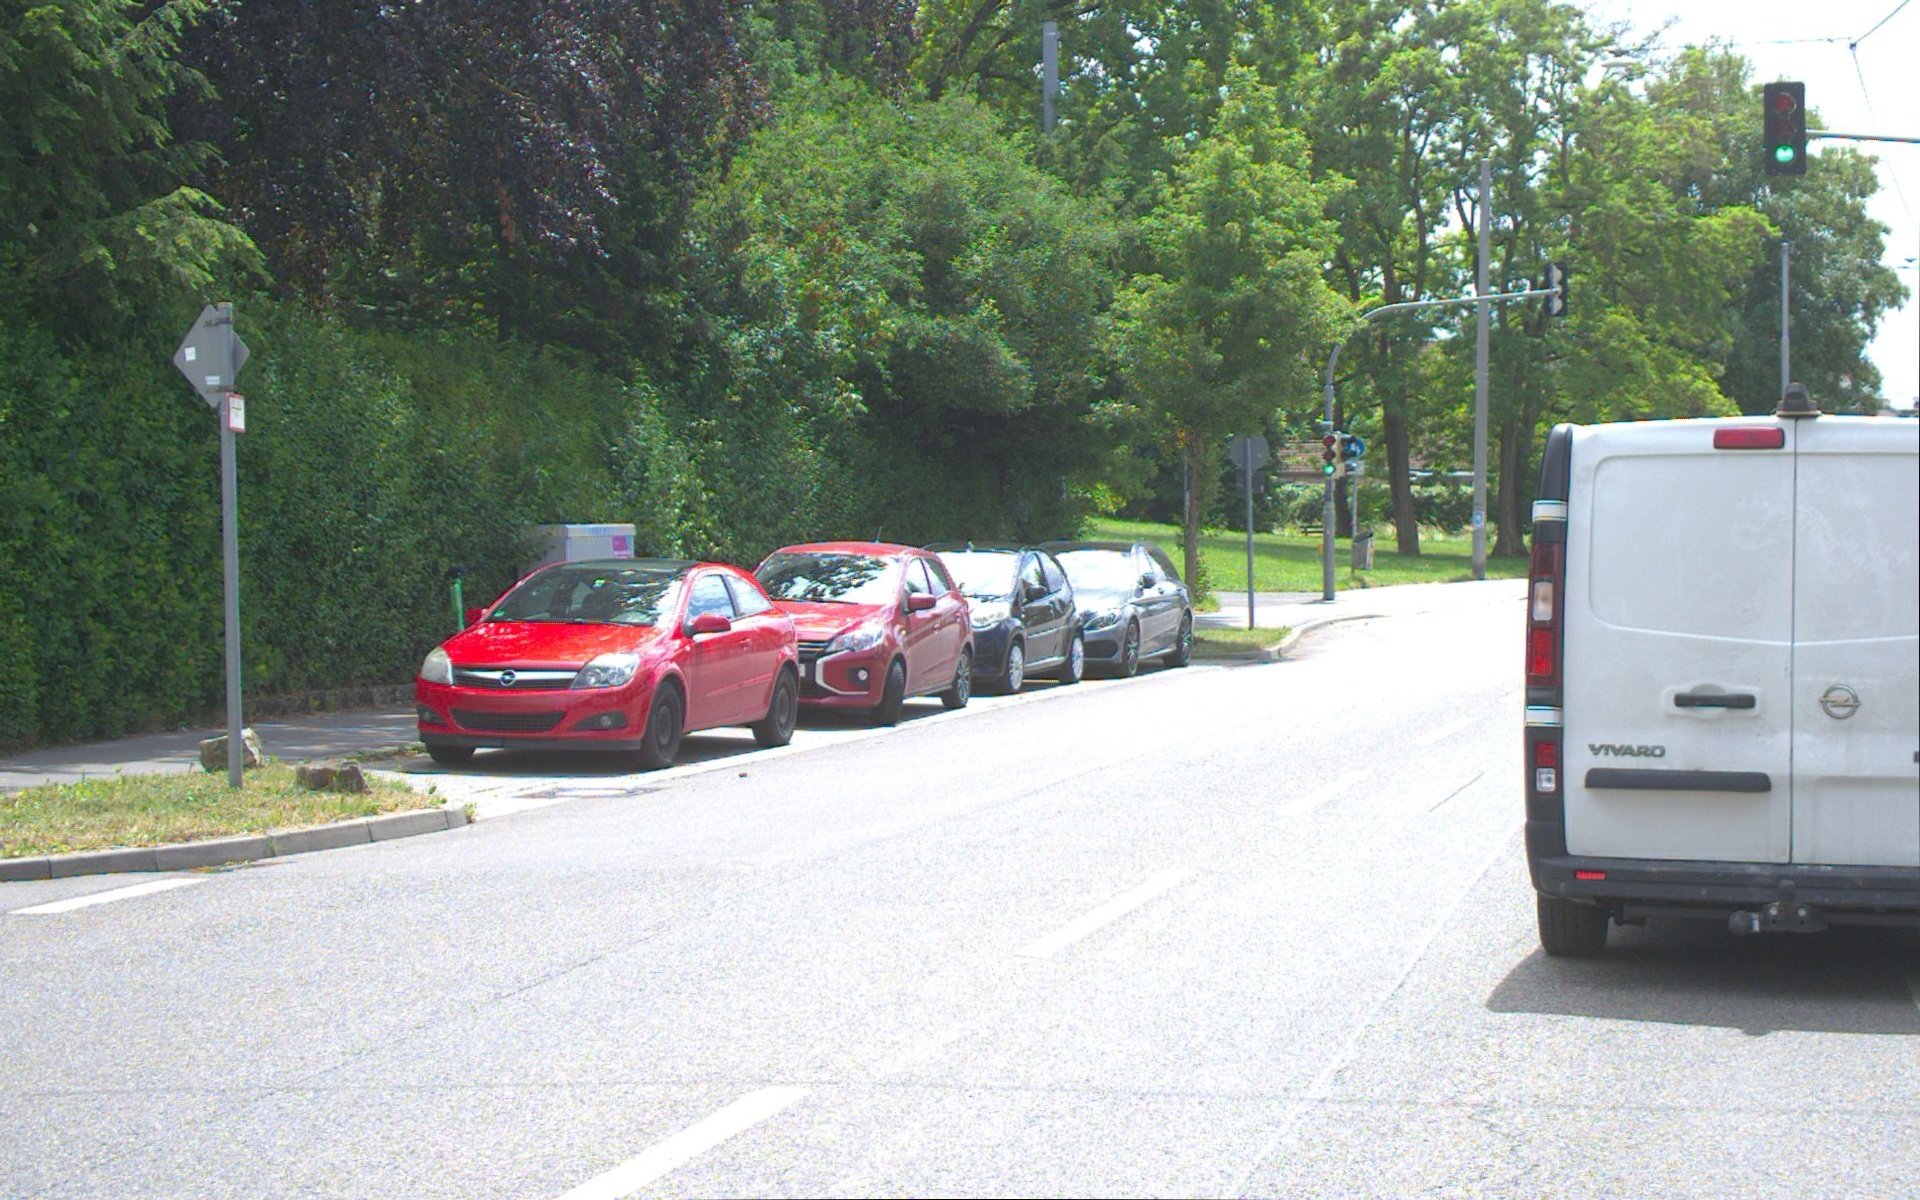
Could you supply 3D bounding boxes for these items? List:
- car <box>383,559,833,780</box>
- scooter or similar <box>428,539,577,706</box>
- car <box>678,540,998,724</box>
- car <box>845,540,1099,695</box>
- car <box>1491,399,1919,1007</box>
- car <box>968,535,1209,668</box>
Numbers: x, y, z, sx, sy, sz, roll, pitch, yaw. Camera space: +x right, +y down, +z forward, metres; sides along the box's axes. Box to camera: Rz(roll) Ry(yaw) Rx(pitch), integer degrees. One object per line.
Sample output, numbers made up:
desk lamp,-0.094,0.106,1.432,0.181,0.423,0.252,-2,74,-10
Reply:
car,-2.406,0.422,24.748,1.662,1.373,4.563,1,1,16
scooter or similar,-4.021,0.177,30.321,0.671,1.407,1.648,1,2,17
car,-0.977,0.218,29.851,1.650,1.445,4.102,1,1,15
car,0.174,0.130,34.583,1.596,1.445,3.593,1,1,16
car,3.424,0.286,13.469,1.940,1.954,4.829,-1,1,17
car,1.516,-0.033,38.674,1.696,1.361,4.683,2,2,15
